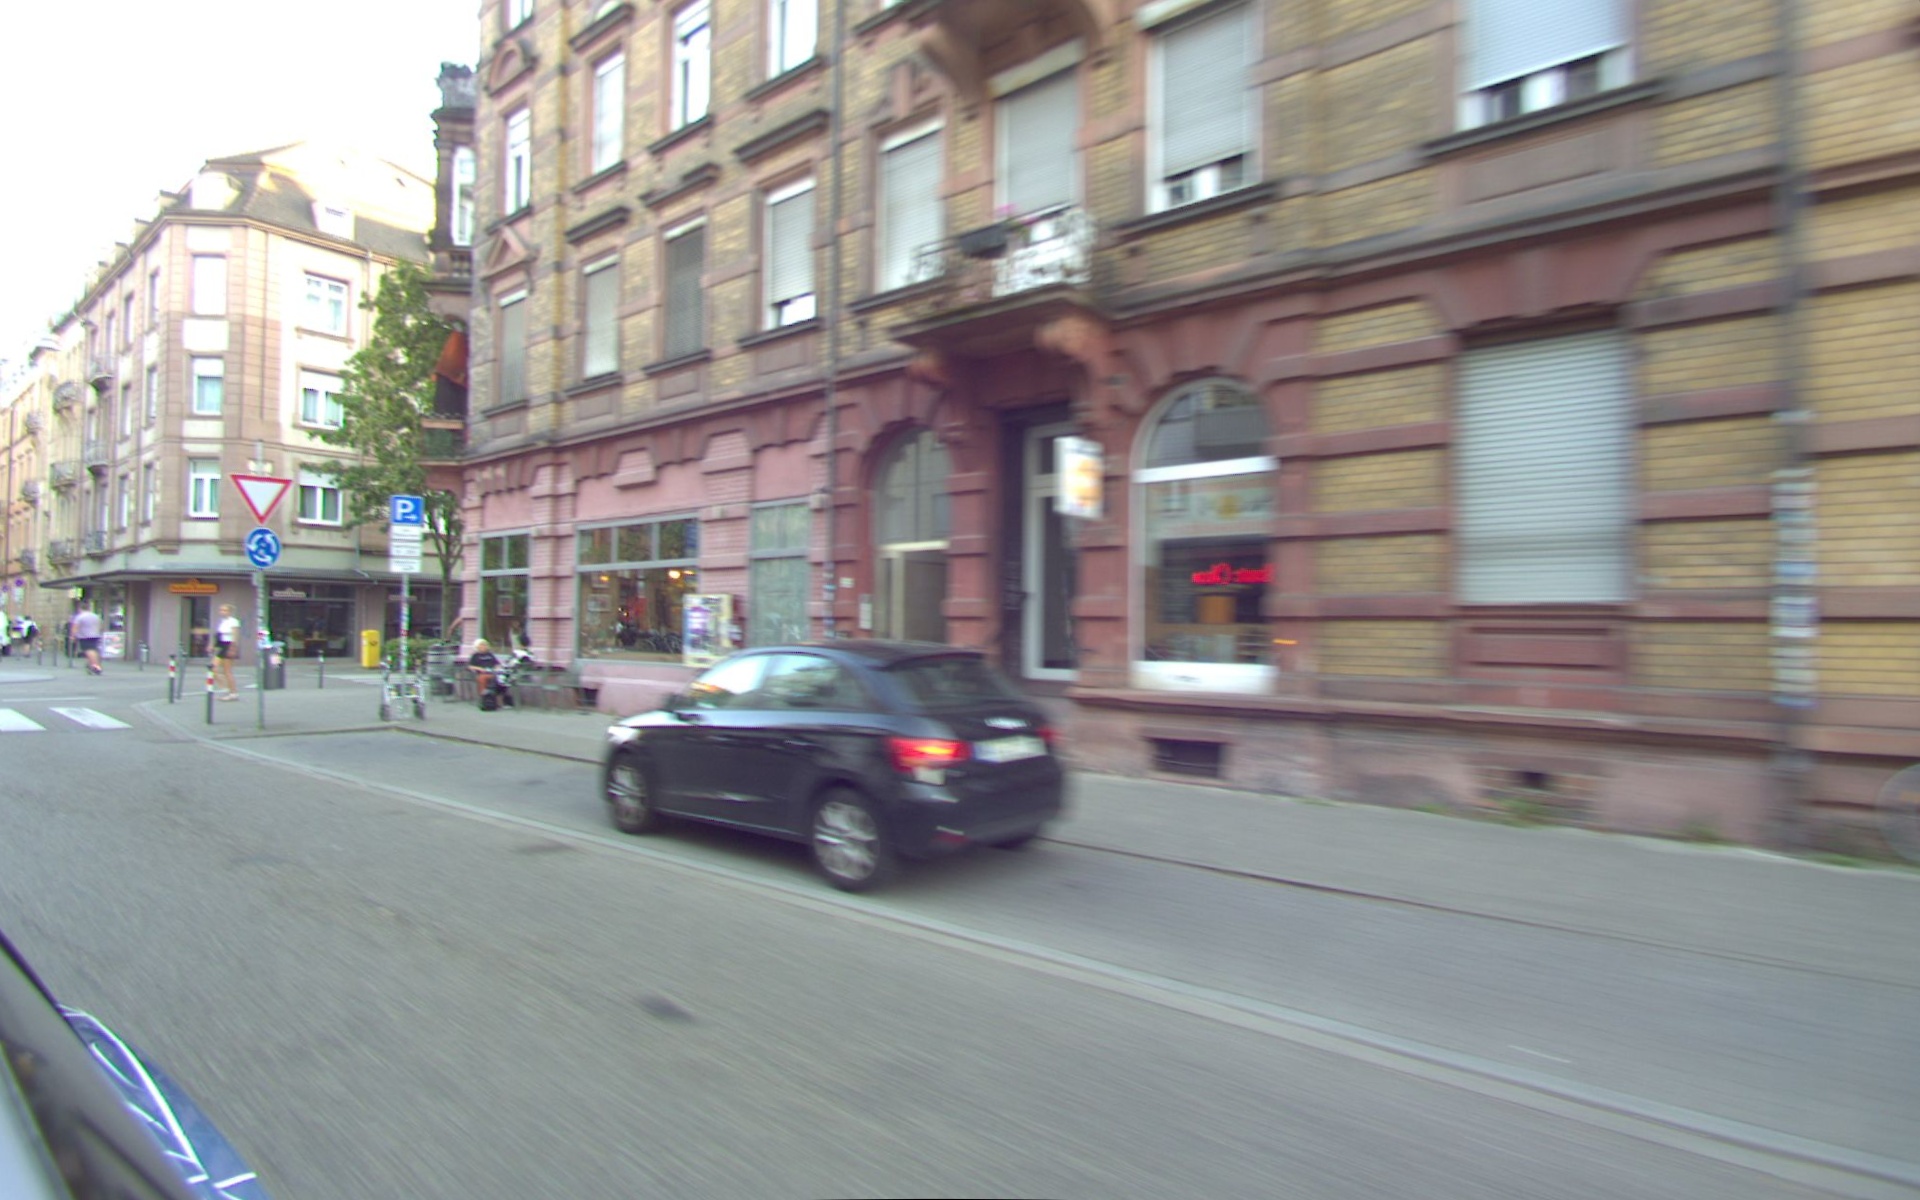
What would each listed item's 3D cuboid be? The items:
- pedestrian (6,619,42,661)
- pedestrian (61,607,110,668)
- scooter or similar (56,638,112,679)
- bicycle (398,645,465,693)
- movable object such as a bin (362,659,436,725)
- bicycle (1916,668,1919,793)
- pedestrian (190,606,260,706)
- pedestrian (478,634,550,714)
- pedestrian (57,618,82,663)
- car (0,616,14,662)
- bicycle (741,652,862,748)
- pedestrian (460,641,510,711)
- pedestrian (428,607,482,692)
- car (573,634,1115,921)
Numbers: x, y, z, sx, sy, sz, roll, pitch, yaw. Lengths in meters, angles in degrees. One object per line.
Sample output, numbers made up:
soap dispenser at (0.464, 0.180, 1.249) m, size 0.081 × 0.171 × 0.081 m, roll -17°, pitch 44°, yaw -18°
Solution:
pedestrian at (-39.595, 1.672, 42.820) m, size 0.736 × 1.757 × 1.217 m, roll 0°, pitch -1°, yaw -24°
pedestrian at (-24.429, 1.064, 28.273) m, size 0.669 × 1.673 × 0.802 m, roll -1°, pitch -3°, yaw 29°
scooter or similar at (-24.435, 1.637, 28.245) m, size 1.167 × 1.112 × 0.802 m, roll -1°, pitch -3°, yaw 29°
bicycle at (-11.999, 1.553, 23.042) m, size 0.604 × 1.033 × 1.775 m, roll -2°, pitch -3°, yaw 0°
movable object such as a bin at (-8.583, 1.391, 15.484) m, size 0.728 × 0.922 × 0.754 m, roll 0°, pitch -1°, yaw 37°
bicycle at (6.369, 0.979, 5.228) m, size 2.048 × 1.180 × 0.521 m, roll -2°, pitch -1°, yaw 44°
pedestrian at (-13.896, 1.048, 19.141) m, size 1.032 × 1.825 × 0.757 m, roll 1°, pitch -4°, yaw -39°
pedestrian at (-7.429, 1.215, 16.868) m, size 0.903 × 1.264 × 0.644 m, roll -2°, pitch 0°, yaw 25°
pedestrian at (-36.650, 1.665, 41.664) m, size 0.645 × 1.792 × 0.694 m, roll 0°, pitch -3°, yaw -32°
car at (-44.031, 1.726, 45.101) m, size 4.764 × 1.973 × 2.115 m, roll -1°, pitch -2°, yaw 39°
bicycle at (-1.997, 1.200, 12.542) m, size 1.898 × 1.061 × 0.420 m, roll -1°, pitch -2°, yaw 44°
pedestrian at (-8.219, 1.298, 17.499) m, size 0.791 × 1.152 × 0.498 m, roll 0°, pitch -1°, yaw 42°
pedestrian at (-11.446, 1.112, 22.947) m, size 0.715 × 1.869 × 1.022 m, roll -2°, pitch -3°, yaw 0°
car at (-1.002, 0.959, 7.065) m, size 3.854 × 1.431 × 1.675 m, roll -2°, pitch -2°, yaw 43°
